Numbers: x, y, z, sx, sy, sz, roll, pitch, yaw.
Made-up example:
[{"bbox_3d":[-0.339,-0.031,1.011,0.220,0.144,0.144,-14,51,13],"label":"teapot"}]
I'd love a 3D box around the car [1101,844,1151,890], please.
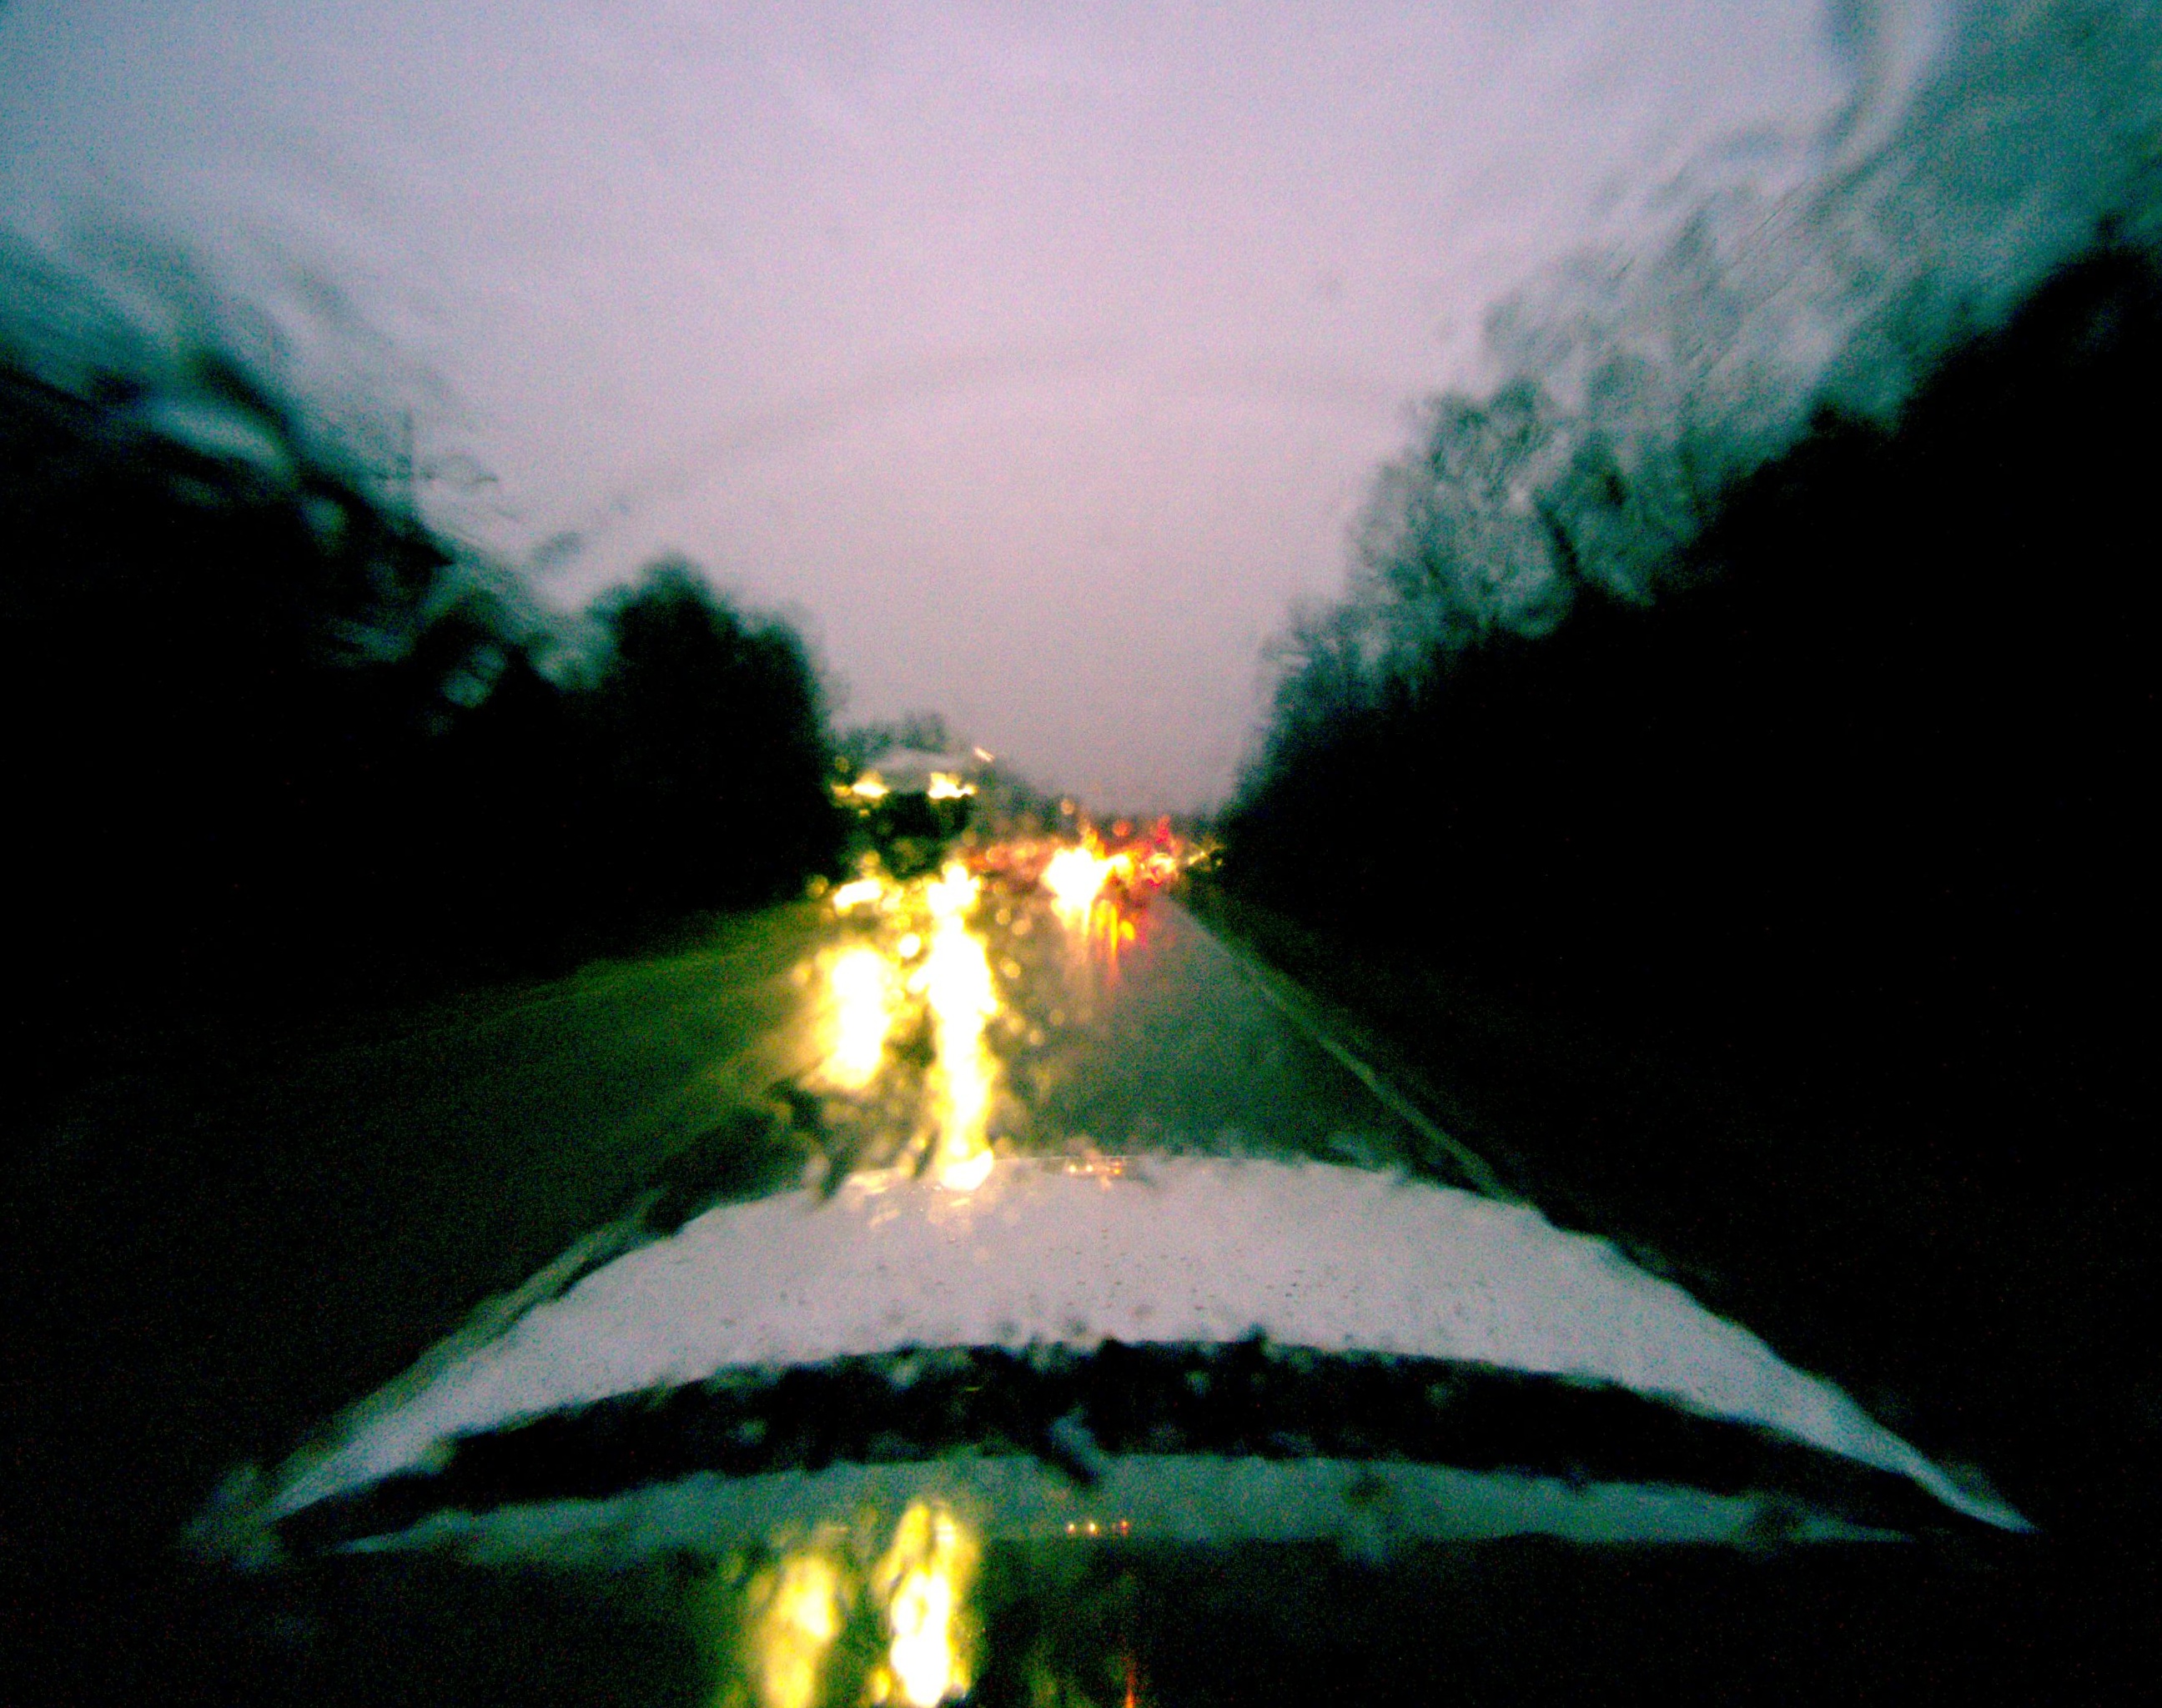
[{"bbox_3d":[1.688,0.456,31.783,1.722,1.643,4.000,-2,0,1],"label":"car"}]

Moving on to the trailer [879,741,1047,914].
[{"bbox_3d":[-3.132,-0.685,26.408,2.767,4.089,13.526,-2,0,3],"label":"trailer"}]

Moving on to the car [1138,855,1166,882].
[{"bbox_3d":[5.762,1.135,65.818,1.983,2.013,4.009,-2,0,7],"label":"car"}]

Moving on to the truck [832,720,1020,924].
[{"bbox_3d":[-3.485,-0.676,20.436,2.787,4.126,7.206,-2,0,3],"label":"truck"}]

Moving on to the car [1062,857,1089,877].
[{"bbox_3d":[-0.388,0.998,63.388,1.737,1.473,4.488,0,0,4],"label":"car"}]
